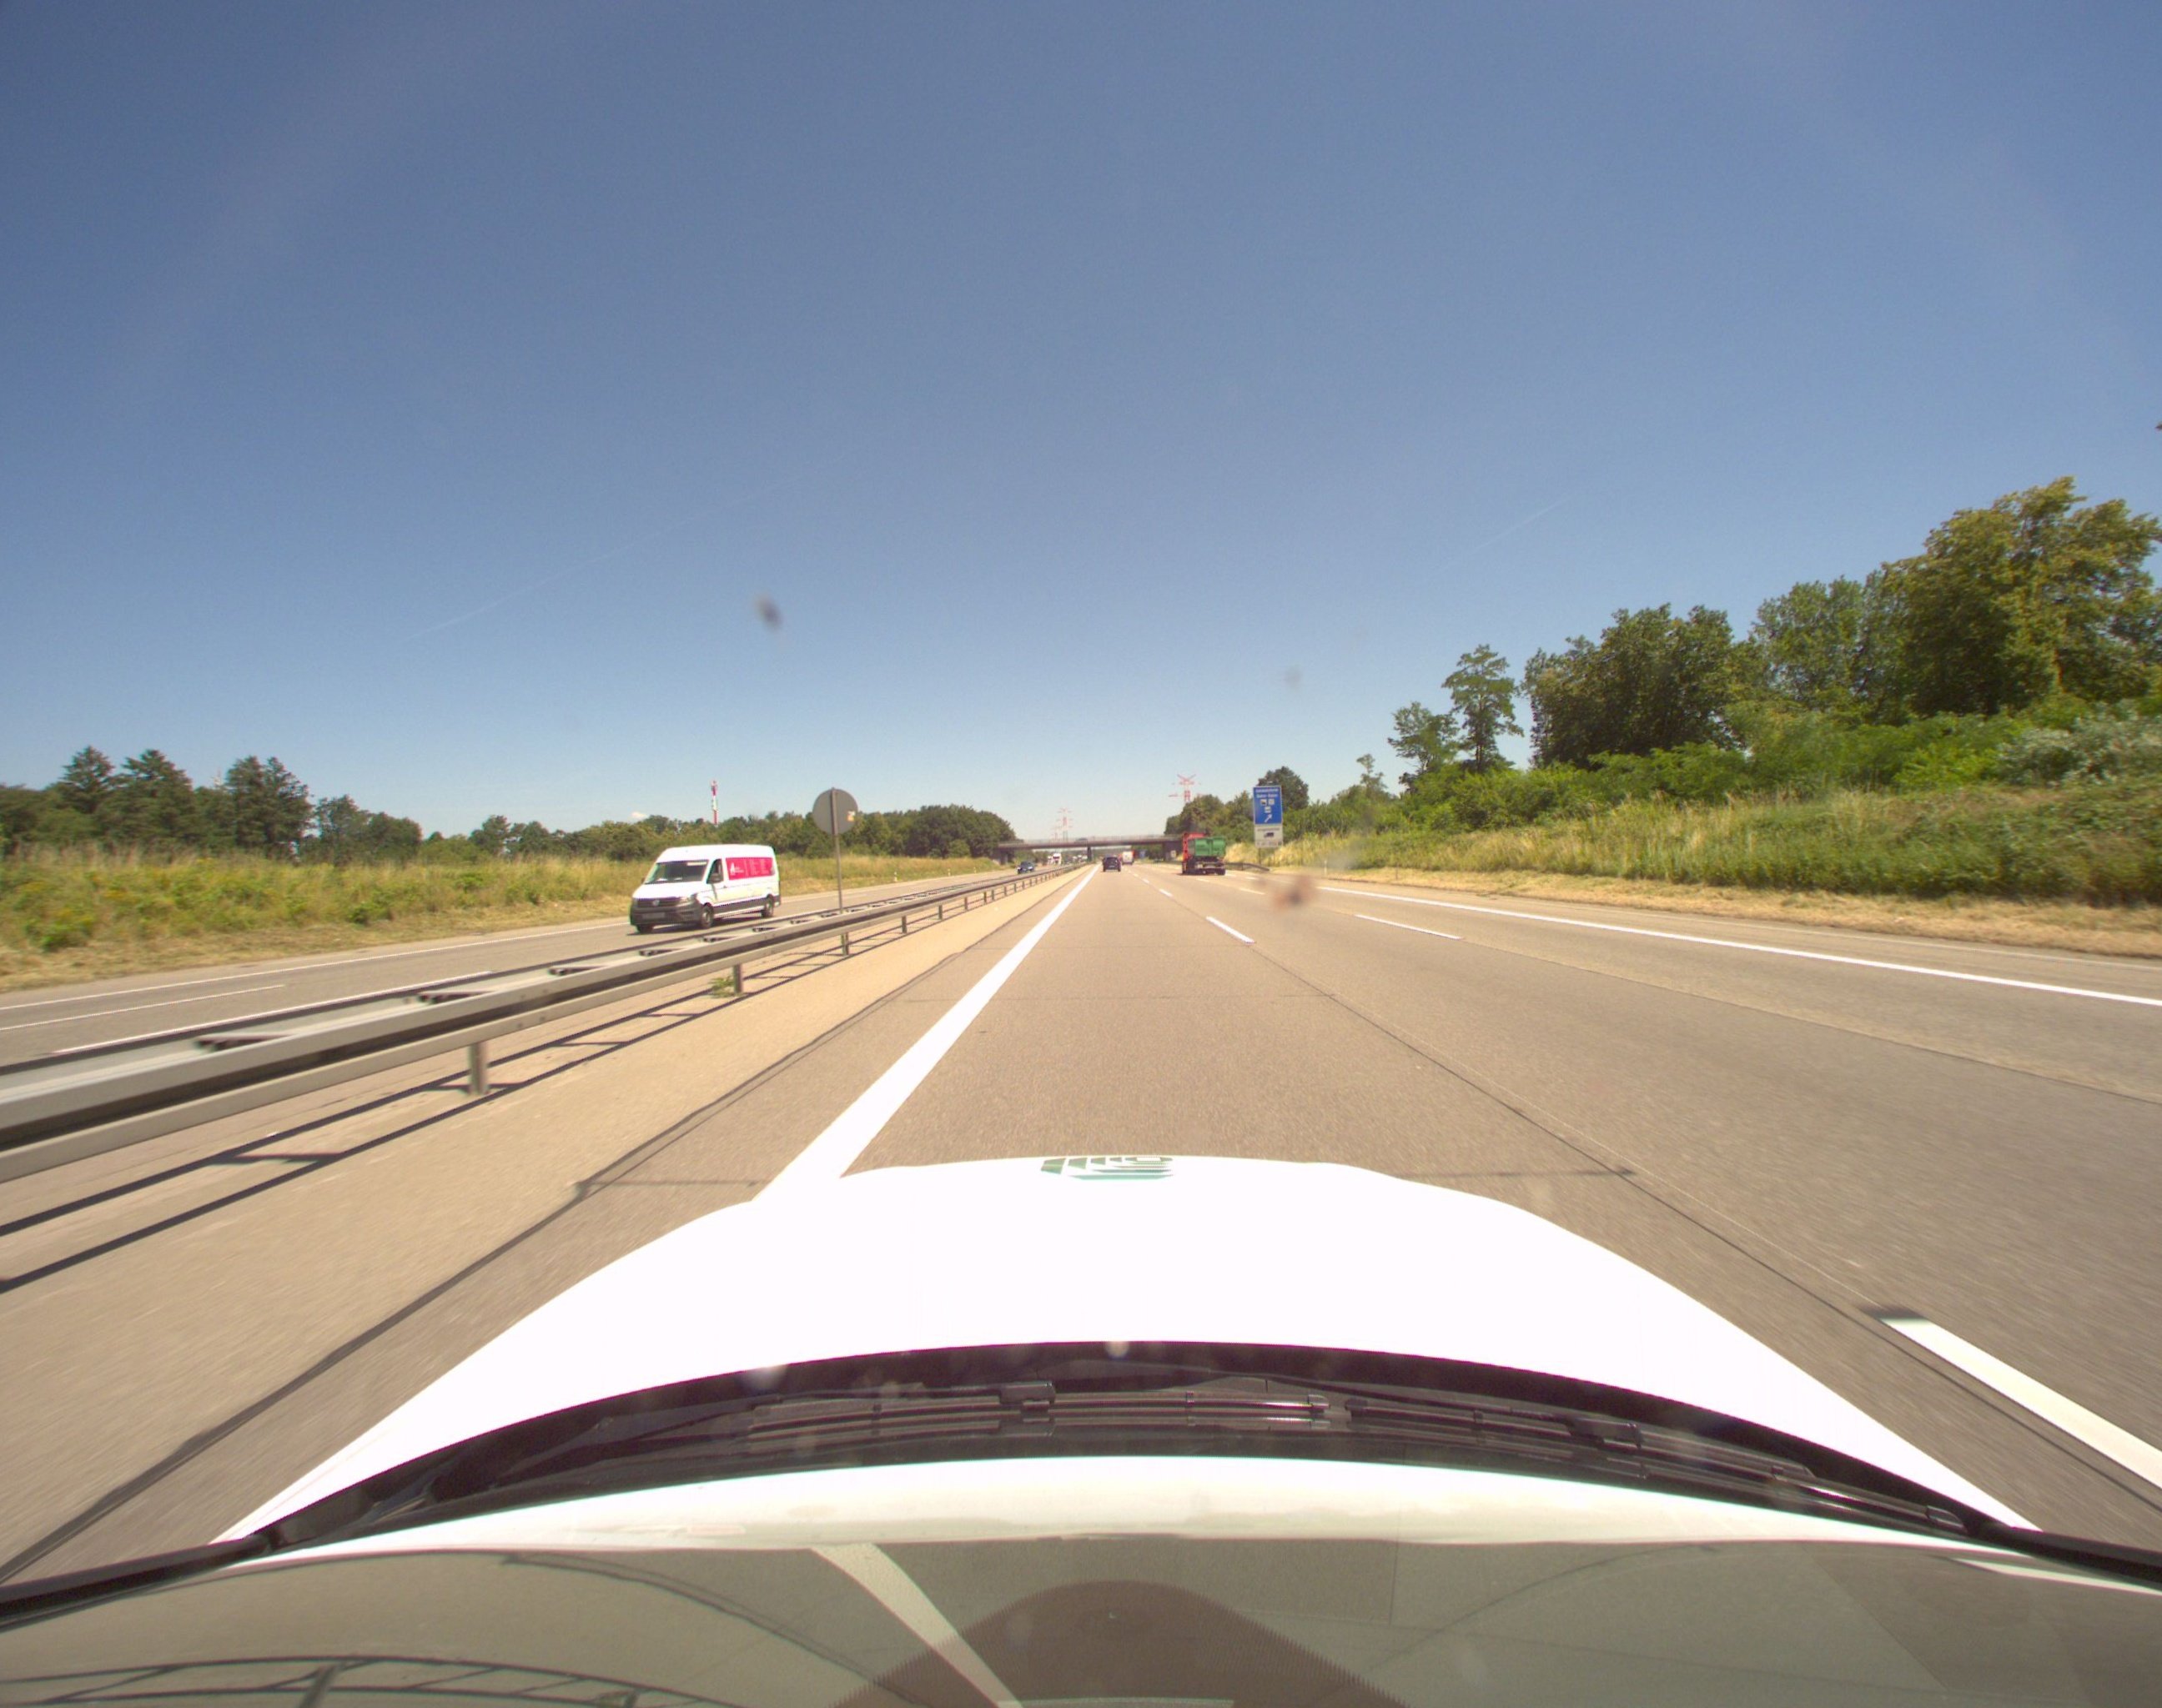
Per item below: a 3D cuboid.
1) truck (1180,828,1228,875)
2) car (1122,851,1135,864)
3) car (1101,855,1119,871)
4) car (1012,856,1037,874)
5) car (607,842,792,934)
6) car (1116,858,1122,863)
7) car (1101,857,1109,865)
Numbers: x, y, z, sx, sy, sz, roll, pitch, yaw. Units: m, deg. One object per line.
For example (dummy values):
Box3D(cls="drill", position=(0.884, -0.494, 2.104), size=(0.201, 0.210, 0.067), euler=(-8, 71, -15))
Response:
Box3D(cls="truck", position=(10.675, -0.158, 71.900), size=(2.671, 3.798, 12.483), euler=(0, 0, 2))
Box3D(cls="car", position=(9.687, 0.711, 166.608), size=(2.611, 2.759, 6.099), euler=(0, 0, 2))
Box3D(cls="car", position=(3.245, 1.006, 91.697), size=(1.986, 1.750, 4.001), euler=(0, 0, 1))
Box3D(cls="car", position=(-6.844, 1.318, 99.432), size=(2.355, 1.895, 5.226), euler=(-4, 0, 1))
Box3D(cls="car", position=(-12.035, 0.982, 26.532), size=(2.355, 2.448, 7.135), euler=(-4, 0, 1))
Box3D(cls="car", position=(11.836, 1.938, 256.009), size=(1.740, 1.634, 4.005), euler=(0, 0, 2))
Box3D(cls="car", position=(5.349, 1.441, 180.693), size=(1.787, 1.750, 4.001), euler=(0, 0, 1))
